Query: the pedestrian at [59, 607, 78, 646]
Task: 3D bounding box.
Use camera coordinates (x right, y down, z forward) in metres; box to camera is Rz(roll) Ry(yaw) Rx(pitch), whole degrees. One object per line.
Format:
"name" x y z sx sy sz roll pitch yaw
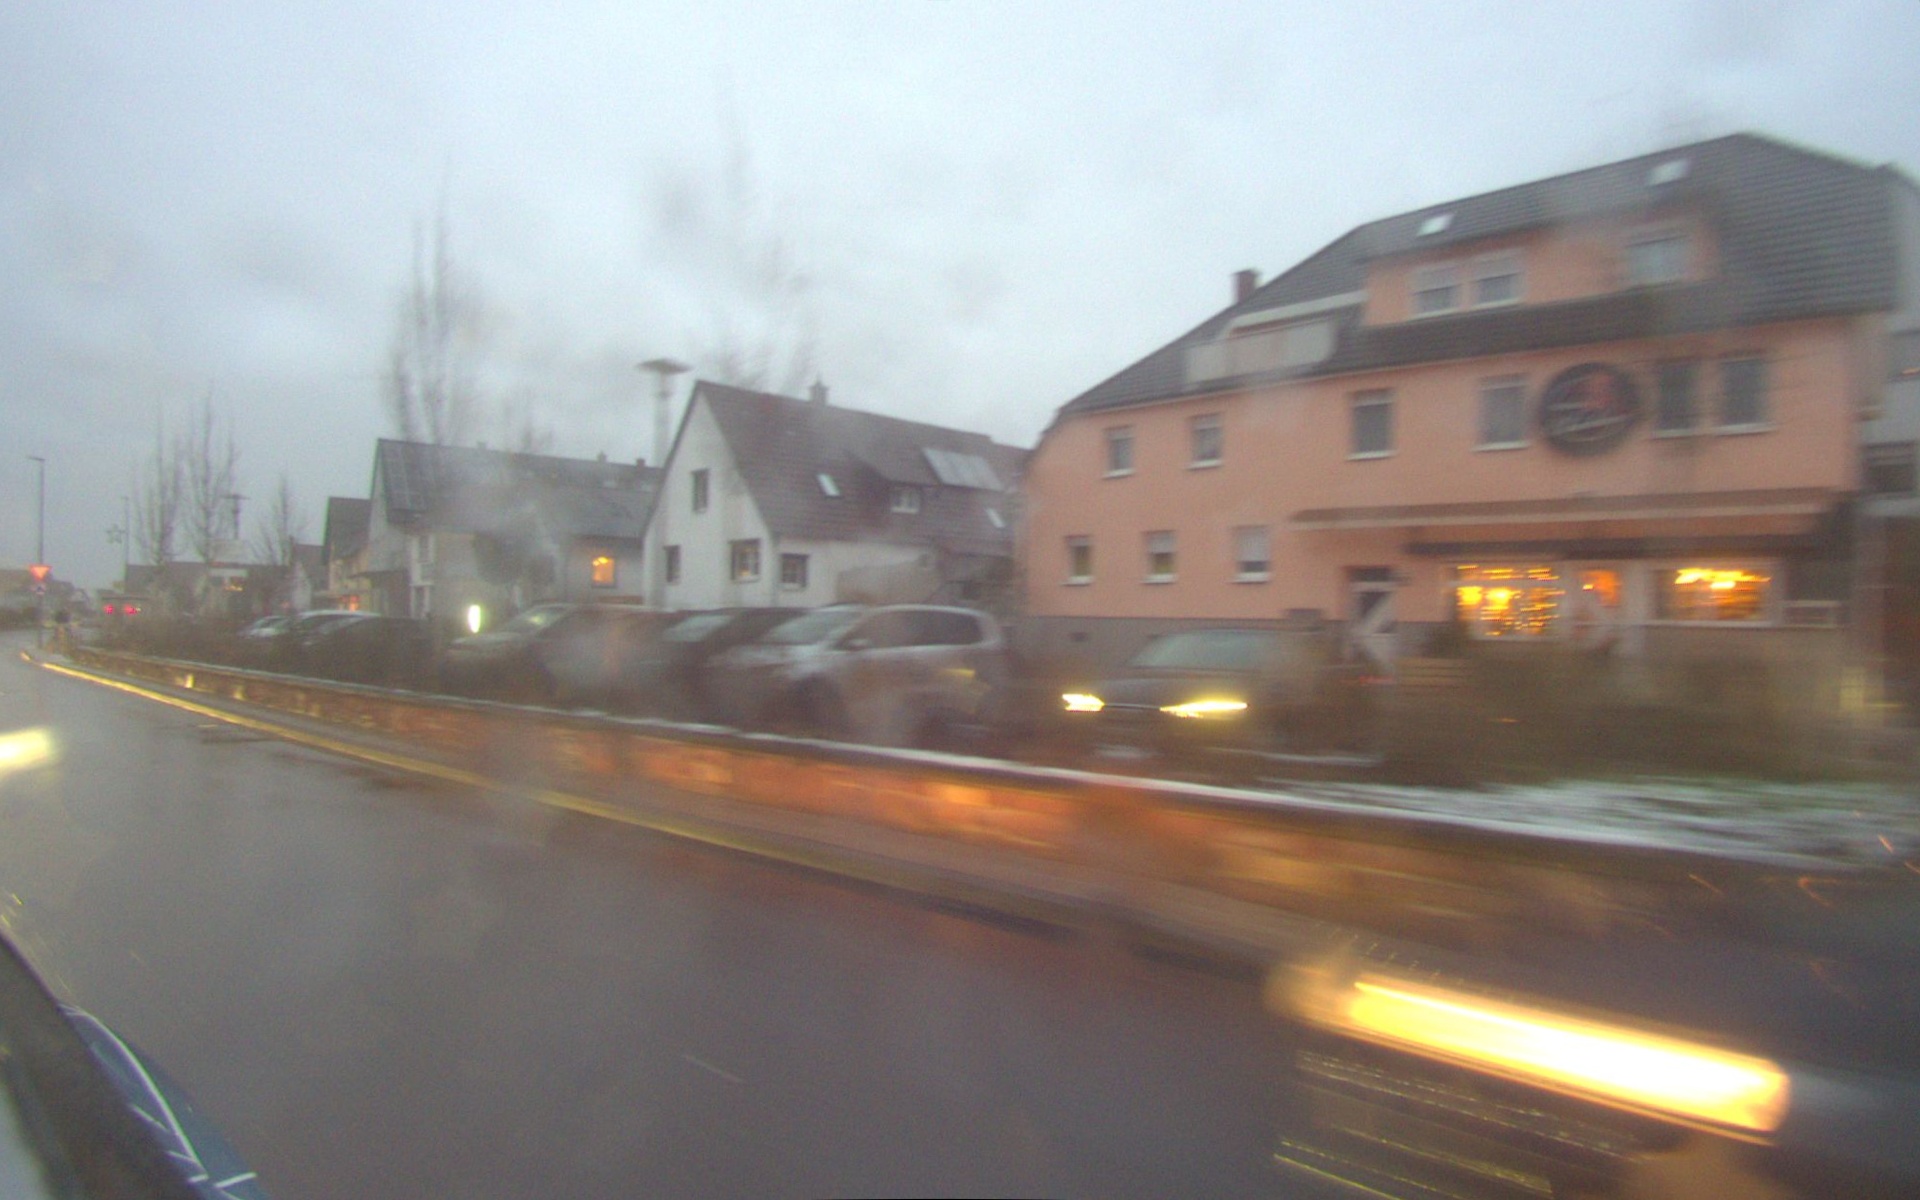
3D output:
"pedestrian" -48.001 1.418 54.487 0.547 2.047 0.657 -2 -2 39

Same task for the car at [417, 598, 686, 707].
"car" -7.592 0.956 19.171 1.844 1.815 4.367 -2 -3 41

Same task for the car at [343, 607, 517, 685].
"car" -14.291 1.278 27.442 1.749 1.966 3.755 -3 -5 41

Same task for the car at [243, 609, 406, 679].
"car" -19.117 1.369 30.552 1.749 1.966 3.755 -3 -5 41

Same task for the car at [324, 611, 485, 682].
"car" -16.301 1.402 29.829 1.749 1.966 3.755 -3 -5 41

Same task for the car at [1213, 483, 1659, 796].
"car" 3.766 0.284 7.640 1.999 1.697 3.944 -2 -3 42

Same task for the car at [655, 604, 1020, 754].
"car" -1.493 0.991 13.902 2.000 1.697 4.811 -3 -4 44

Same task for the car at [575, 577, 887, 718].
"car" -3.423 0.713 15.845 1.999 1.881 4.455 -2 -3 41

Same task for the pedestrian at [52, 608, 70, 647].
"pedestrian" -47.716 1.454 53.700 0.604 2.029 0.665 -1 -1 42

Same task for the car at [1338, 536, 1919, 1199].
"car" 2.635 0.663 1.120 3.837 1.492 1.602 -2 -4 41

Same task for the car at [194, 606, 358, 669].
"car" -21.738 1.197 32.275 1.975 1.863 3.945 -2 -3 41

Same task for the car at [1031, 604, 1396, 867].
"car" 2.586 1.150 9.694 1.749 1.966 3.985 -3 -5 41

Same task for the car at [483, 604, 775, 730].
"car" -5.537 1.071 17.408 1.868 1.881 4.455 -2 -3 41
